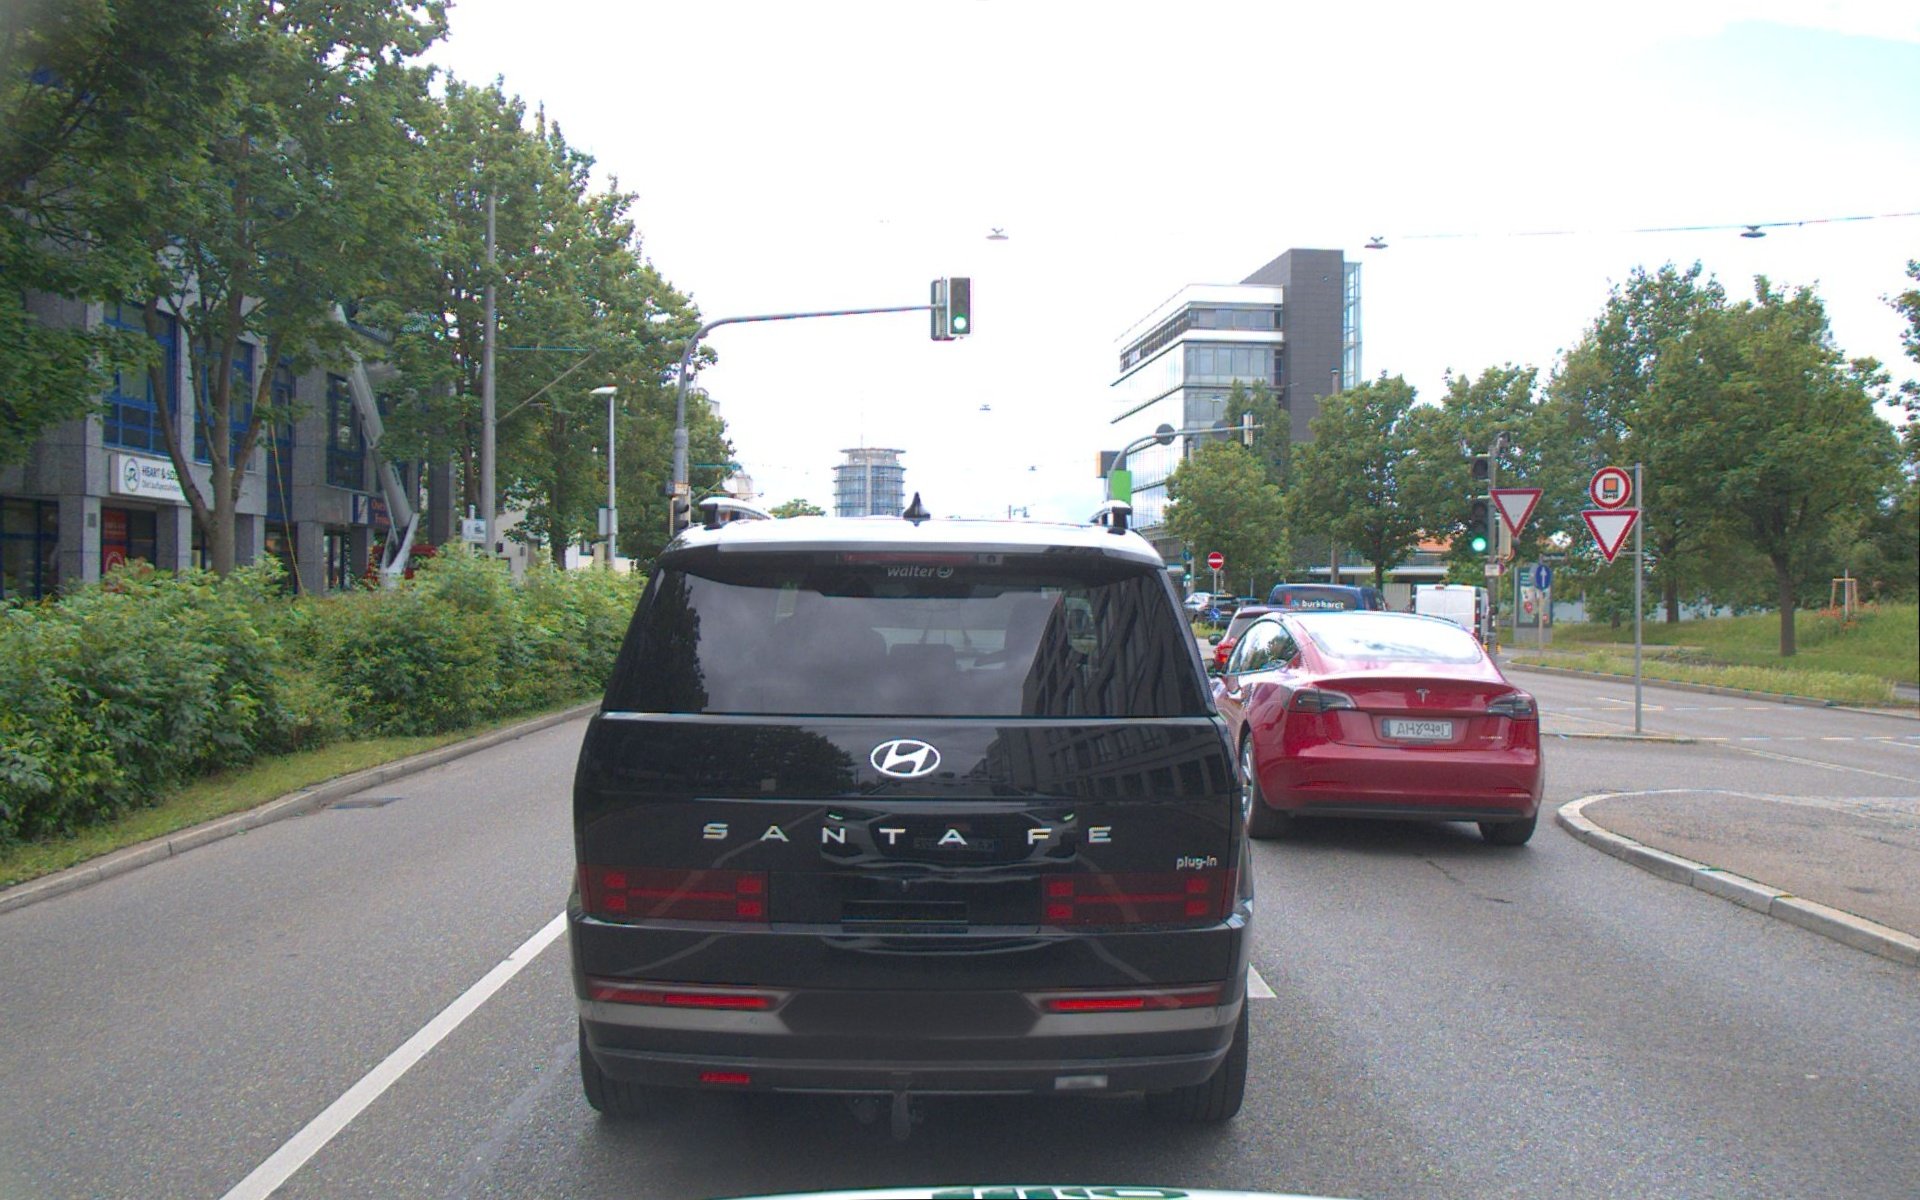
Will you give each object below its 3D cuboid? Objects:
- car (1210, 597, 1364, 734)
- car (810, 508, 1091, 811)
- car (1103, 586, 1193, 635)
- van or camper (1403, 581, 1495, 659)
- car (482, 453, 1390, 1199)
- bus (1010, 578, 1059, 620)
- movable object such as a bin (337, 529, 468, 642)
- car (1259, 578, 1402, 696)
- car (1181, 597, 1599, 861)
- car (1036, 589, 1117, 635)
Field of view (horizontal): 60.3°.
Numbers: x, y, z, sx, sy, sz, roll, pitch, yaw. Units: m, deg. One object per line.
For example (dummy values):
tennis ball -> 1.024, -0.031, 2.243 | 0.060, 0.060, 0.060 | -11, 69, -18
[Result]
car -> 4.049, 0.744, 20.843 | 1.707, 1.507, 3.722 | 1, 0, 9
car -> 0.074, 0.389, 13.583 | 1.862, 2.003, 4.638 | 2, 0, 3
car -> 6.777, 0.360, 60.054 | 1.856, 1.591, 4.381 | 2, 1, -13
van or camper -> 13.210, 0.482, 44.515 | 1.953, 1.951, 4.409 | 2, 1, 22
car -> -0.079, 0.588, 5.699 | 1.863, 1.762, 4.445 | 2, 0, -1
bus -> 5.905, -0.049, 133.298 | 2.908, 3.171, 9.236 | -1, 0, -4
movable object such as a bin -> -13.590, -0.352, 40.564 | 1.866, 2.575, 4.126 | 1, 0, -2
car -> 6.772, 0.621, 29.896 | 1.863, 1.891, 4.710 | 2, 0, 20
car -> 2.770, 0.739, 11.737 | 1.834, 1.443, 4.443 | 2, 0, 1
car -> 4.074, 0.404, 58.637 | 1.751, 1.450, 4.384 | 2, 1, -11
